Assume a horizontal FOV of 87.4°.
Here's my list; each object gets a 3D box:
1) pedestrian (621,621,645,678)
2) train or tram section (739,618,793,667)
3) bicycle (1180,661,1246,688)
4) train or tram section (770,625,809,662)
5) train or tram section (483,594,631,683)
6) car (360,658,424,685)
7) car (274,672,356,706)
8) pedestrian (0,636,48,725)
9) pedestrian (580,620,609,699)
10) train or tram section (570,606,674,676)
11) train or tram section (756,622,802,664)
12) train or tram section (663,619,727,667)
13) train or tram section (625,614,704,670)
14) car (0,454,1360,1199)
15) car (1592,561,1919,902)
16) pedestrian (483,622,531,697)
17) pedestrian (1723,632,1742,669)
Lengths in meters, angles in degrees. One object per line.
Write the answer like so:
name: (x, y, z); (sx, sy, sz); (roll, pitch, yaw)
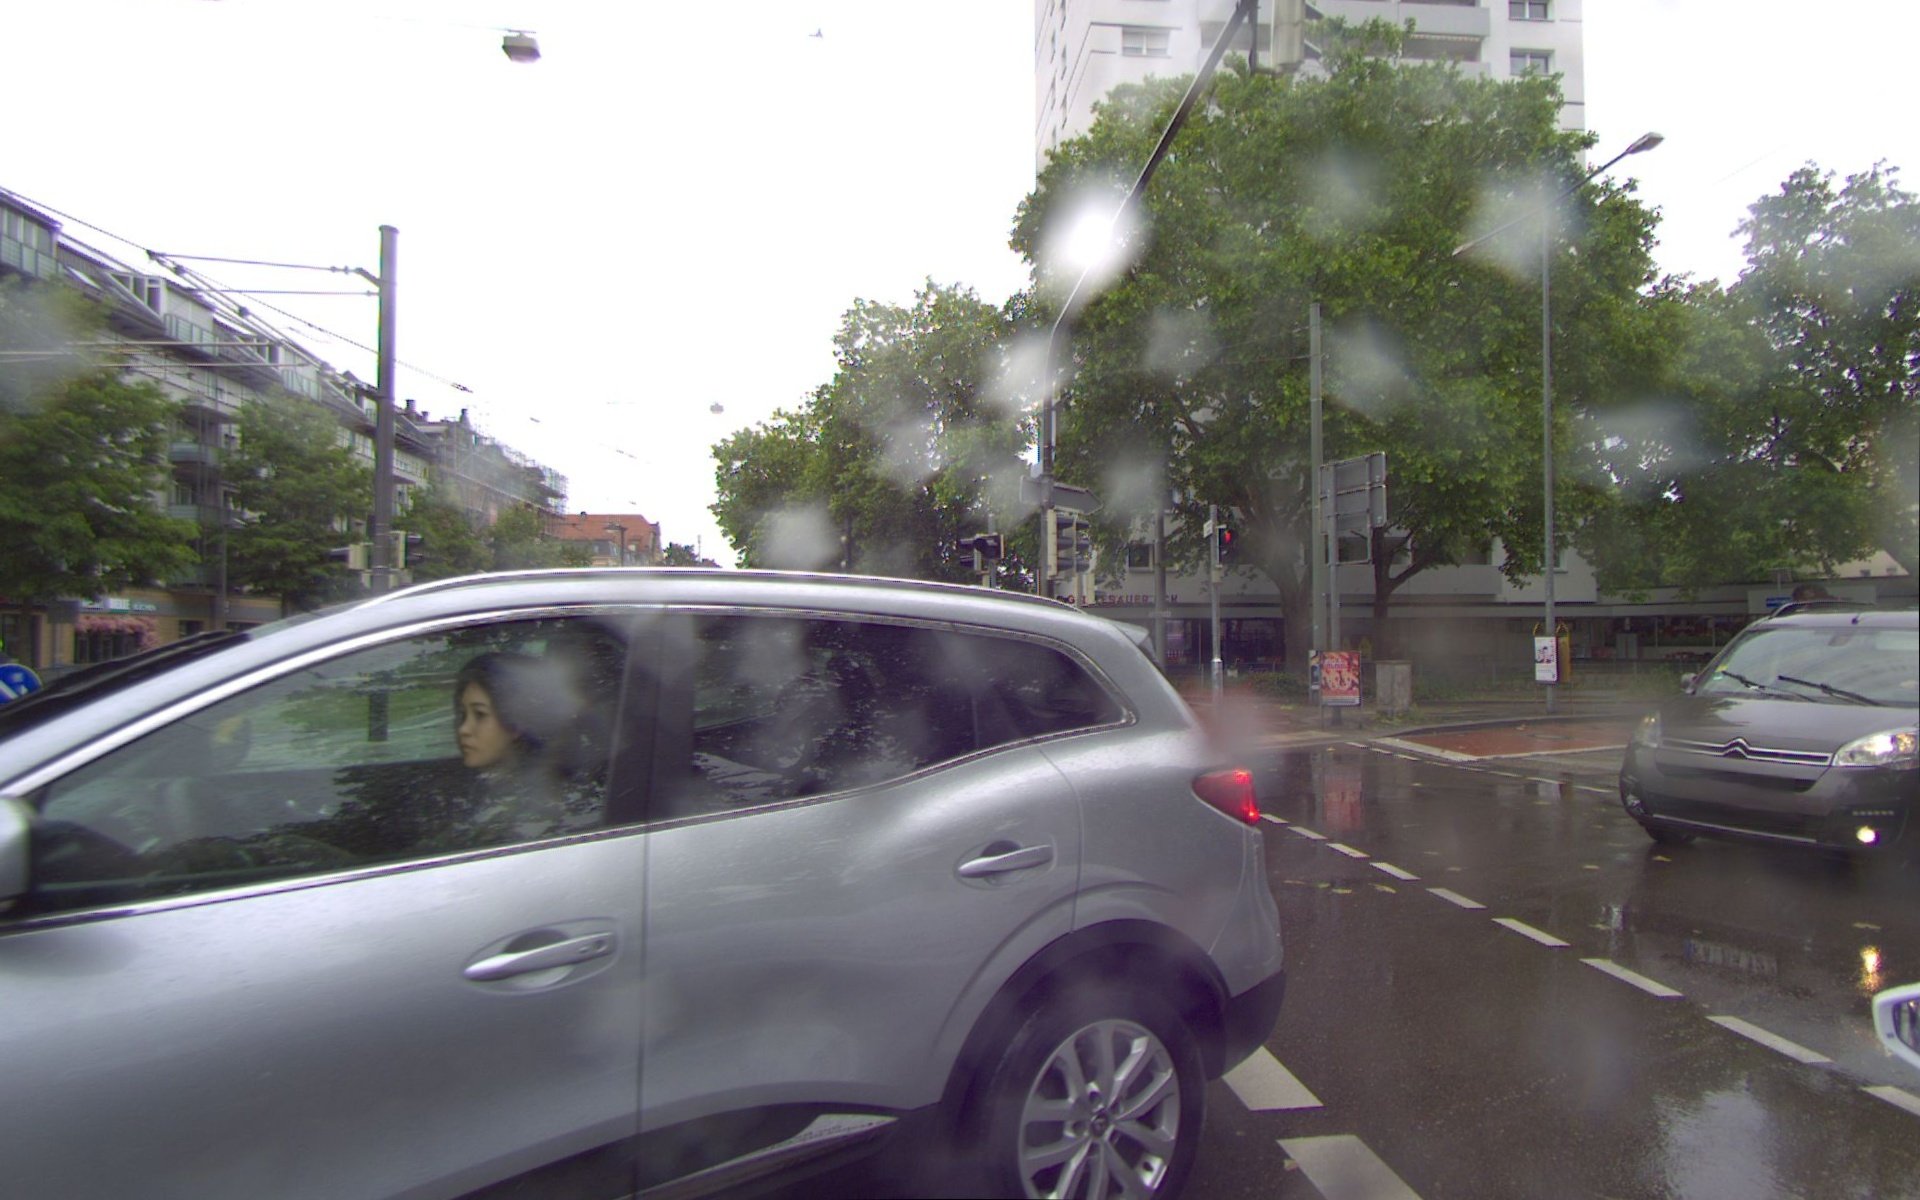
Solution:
pedestrian: (-10.839, 1.650, 33.327); (0.628, 1.862, 0.679); (-1, -3, -6)
train or tram section: (-15.164, 3.360, 79.281); (3.014, 3.549, 11.572); (0, -3, -5)
bicycle: (9.105, 2.678, 36.187); (2.271, 0.880, 0.639); (0, -1, 19)
train or tram section: (-17.240, 4.452, 102.304); (3.014, 3.549, 11.572); (0, -3, -5)
train or tram section: (-17.997, 1.797, 45.926); (3.014, 3.549, 11.572); (0, -3, -5)
car: (-32.738, 4.077, 58.040); (1.791, 1.438, 3.997); (0, -3, -7)
car: (-31.646, 4.345, 49.445); (1.791, 1.438, 3.997); (0, -3, -7)
pedestrian: (-18.123, 1.528, 19.104); (0.822, 1.670, 0.755); (0, -3, -9)
pedestrian: (-9.958, 1.620, 27.384); (0.625, 2.104, 0.701); (0, -2, -10)
train or tram section: (-19.031, 2.385, 57.450); (3.014, 3.549, 11.572); (0, -3, -5)
train or tram section: (-16.212, 3.912, 90.779); (3.014, 3.549, 11.572); (0, -3, -5)
train or tram section: (-21.057, 3.506, 80.482); (3.014, 3.549, 11.572); (0, -3, -5)
train or tram section: (-20.051, 2.917, 68.940); (3.014, 3.549, 11.572); (0, -3, -5)
car: (-1.078, 0.663, 2.468); (3.952, 1.625, 1.735); (1, -3, -29)
car: (6.686, 0.799, 7.306); (4.060, 1.886, 1.799); (1, -3, -29)
pedestrian: (-10.389, 1.362, 23.081); (0.779, 1.670, 0.816); (-1, -3, -6)
pedestrian: (34.935, 2.286, 45.413); (0.637, 1.650, 0.564); (2, -3, -44)
